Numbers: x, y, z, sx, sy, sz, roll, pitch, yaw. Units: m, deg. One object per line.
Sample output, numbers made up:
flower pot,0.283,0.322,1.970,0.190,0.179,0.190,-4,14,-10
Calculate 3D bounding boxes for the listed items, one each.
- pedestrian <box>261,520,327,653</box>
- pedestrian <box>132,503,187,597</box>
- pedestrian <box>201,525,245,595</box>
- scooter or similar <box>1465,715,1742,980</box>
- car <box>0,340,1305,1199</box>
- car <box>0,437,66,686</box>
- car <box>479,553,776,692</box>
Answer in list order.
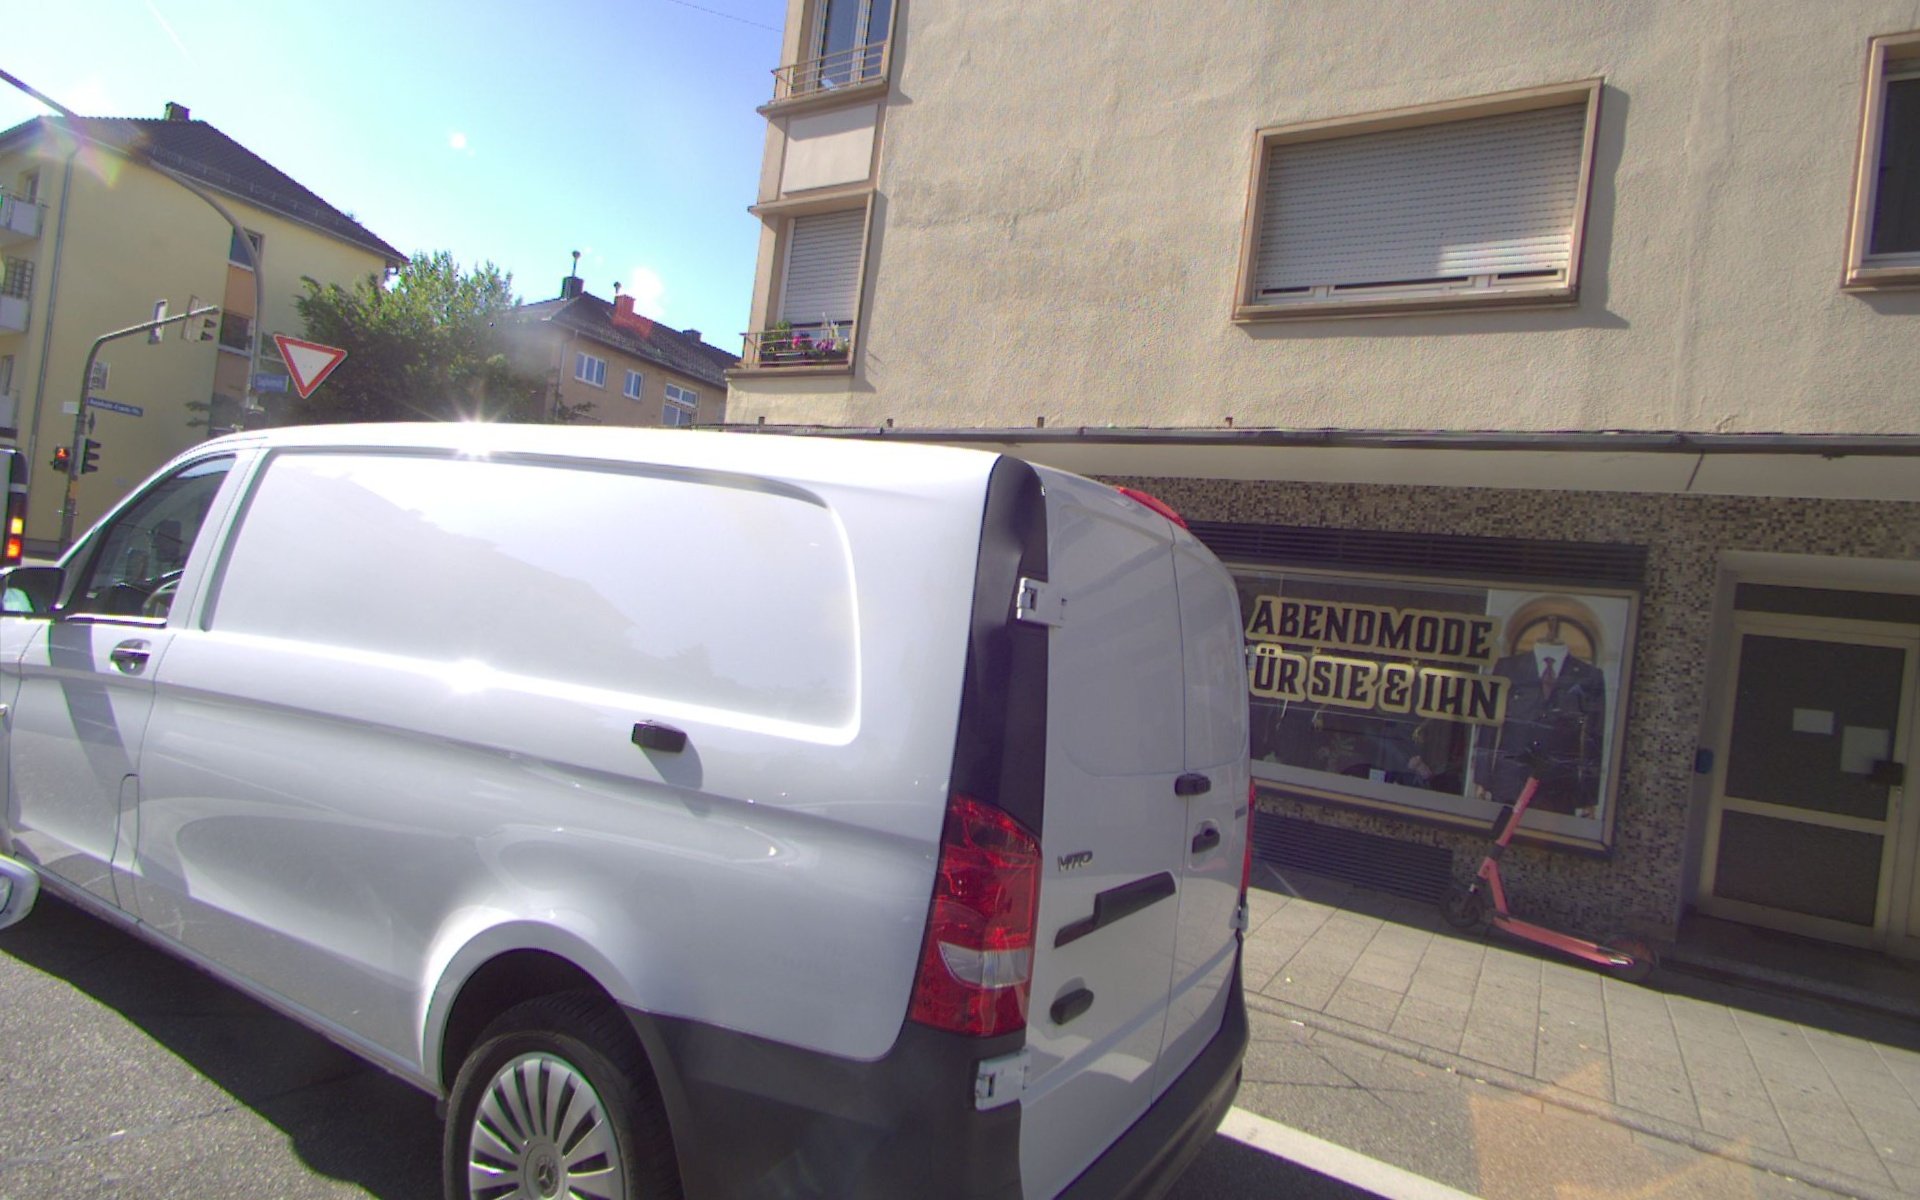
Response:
pedestrian,-9.710,-0.196,14.675,0.600,1.844,0.623,7,0,-35
pedestrian,-16.159,-1.006,20.316,0.612,1.783,0.526,7,0,30
pedestrian,-17.760,-0.964,24.242,0.530,1.590,0.540,7,0,32
scooter or similar,3.756,1.393,5.953,1.208,1.239,0.526,7,0,32
car,-1.549,0.406,3.491,4.751,1.832,1.972,6,-1,31
car,-10.066,-0.597,8.885,4.976,1.961,1.971,6,-3,35
car,-4.949,0.431,15.523,1.795,1.682,3.994,7,-1,32
